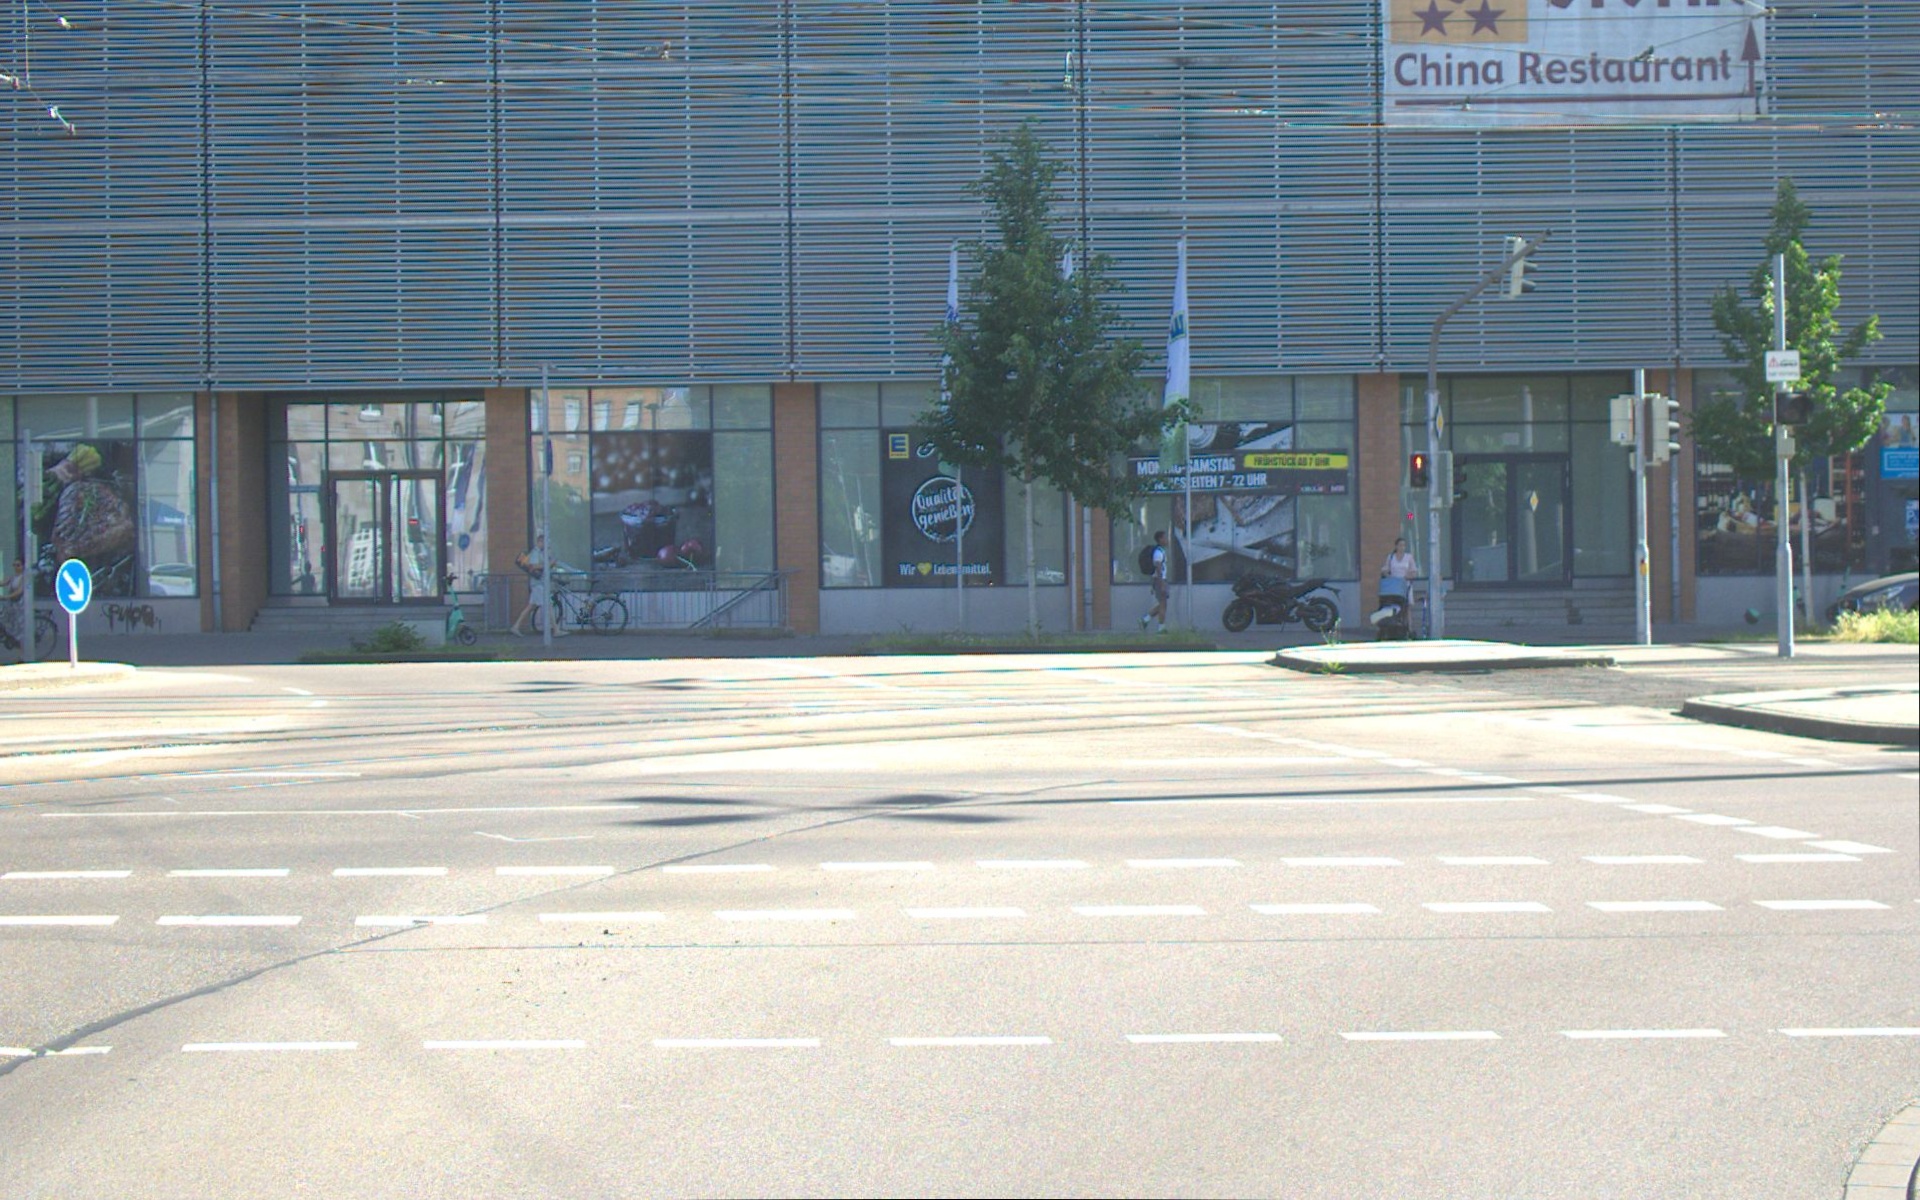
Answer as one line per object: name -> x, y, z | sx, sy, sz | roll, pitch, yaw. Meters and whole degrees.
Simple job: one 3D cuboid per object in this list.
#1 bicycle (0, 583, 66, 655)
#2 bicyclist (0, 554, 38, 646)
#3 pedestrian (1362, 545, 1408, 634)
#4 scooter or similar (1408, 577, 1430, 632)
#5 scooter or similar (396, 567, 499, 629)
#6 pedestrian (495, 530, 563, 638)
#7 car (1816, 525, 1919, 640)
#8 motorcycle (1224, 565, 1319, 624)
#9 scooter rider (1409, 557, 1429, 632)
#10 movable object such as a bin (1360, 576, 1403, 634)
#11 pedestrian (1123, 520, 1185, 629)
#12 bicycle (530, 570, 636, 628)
bicycle -> -15.241, 0.311, 54.865 | 0.568, 1.082, 1.859 | 1, 3, 43
bicyclist -> -15.275, 0.002, 54.785 | 0.675, 1.422, 0.847 | 1, 3, 43
pedestrian -> 6.835, -0.178, 55.272 | 0.655, 1.409, 0.849 | 1, 0, 10
scooter or similar -> 7.355, 0.074, 55.095 | 0.295, 0.870, 1.003 | 1, 0, 10
scooter or similar -> -9.074, -0.046, 60.929 | 1.792, 1.062, 0.613 | 0, 2, -8
pedestrian -> -7.467, -0.287, 59.606 | 0.950, 1.822, 0.846 | -2, 1, 5
car -> 13.758, -0.144, 45.849 | 4.146, 1.464, 1.841 | 3, 0, -1
motorcycle -> 5.498, -0.103, 60.639 | 1.640, 1.001, 0.446 | 1, 1, 6
scooter rider -> 7.348, -0.088, 55.032 | 0.288, 1.196, 0.385 | 1, 0, 10
movable object such as a bin -> 6.716, 0.078, 54.811 | 0.613, 0.901, 0.968 | 1, 0, 10
pedestrian -> 3.336, -0.445, 59.121 | 1.012, 1.822, 1.035 | -2, 1, 3
bicycle -> -6.645, -0.017, 60.546 | 1.815, 0.986, 0.558 | -1, 2, -10
